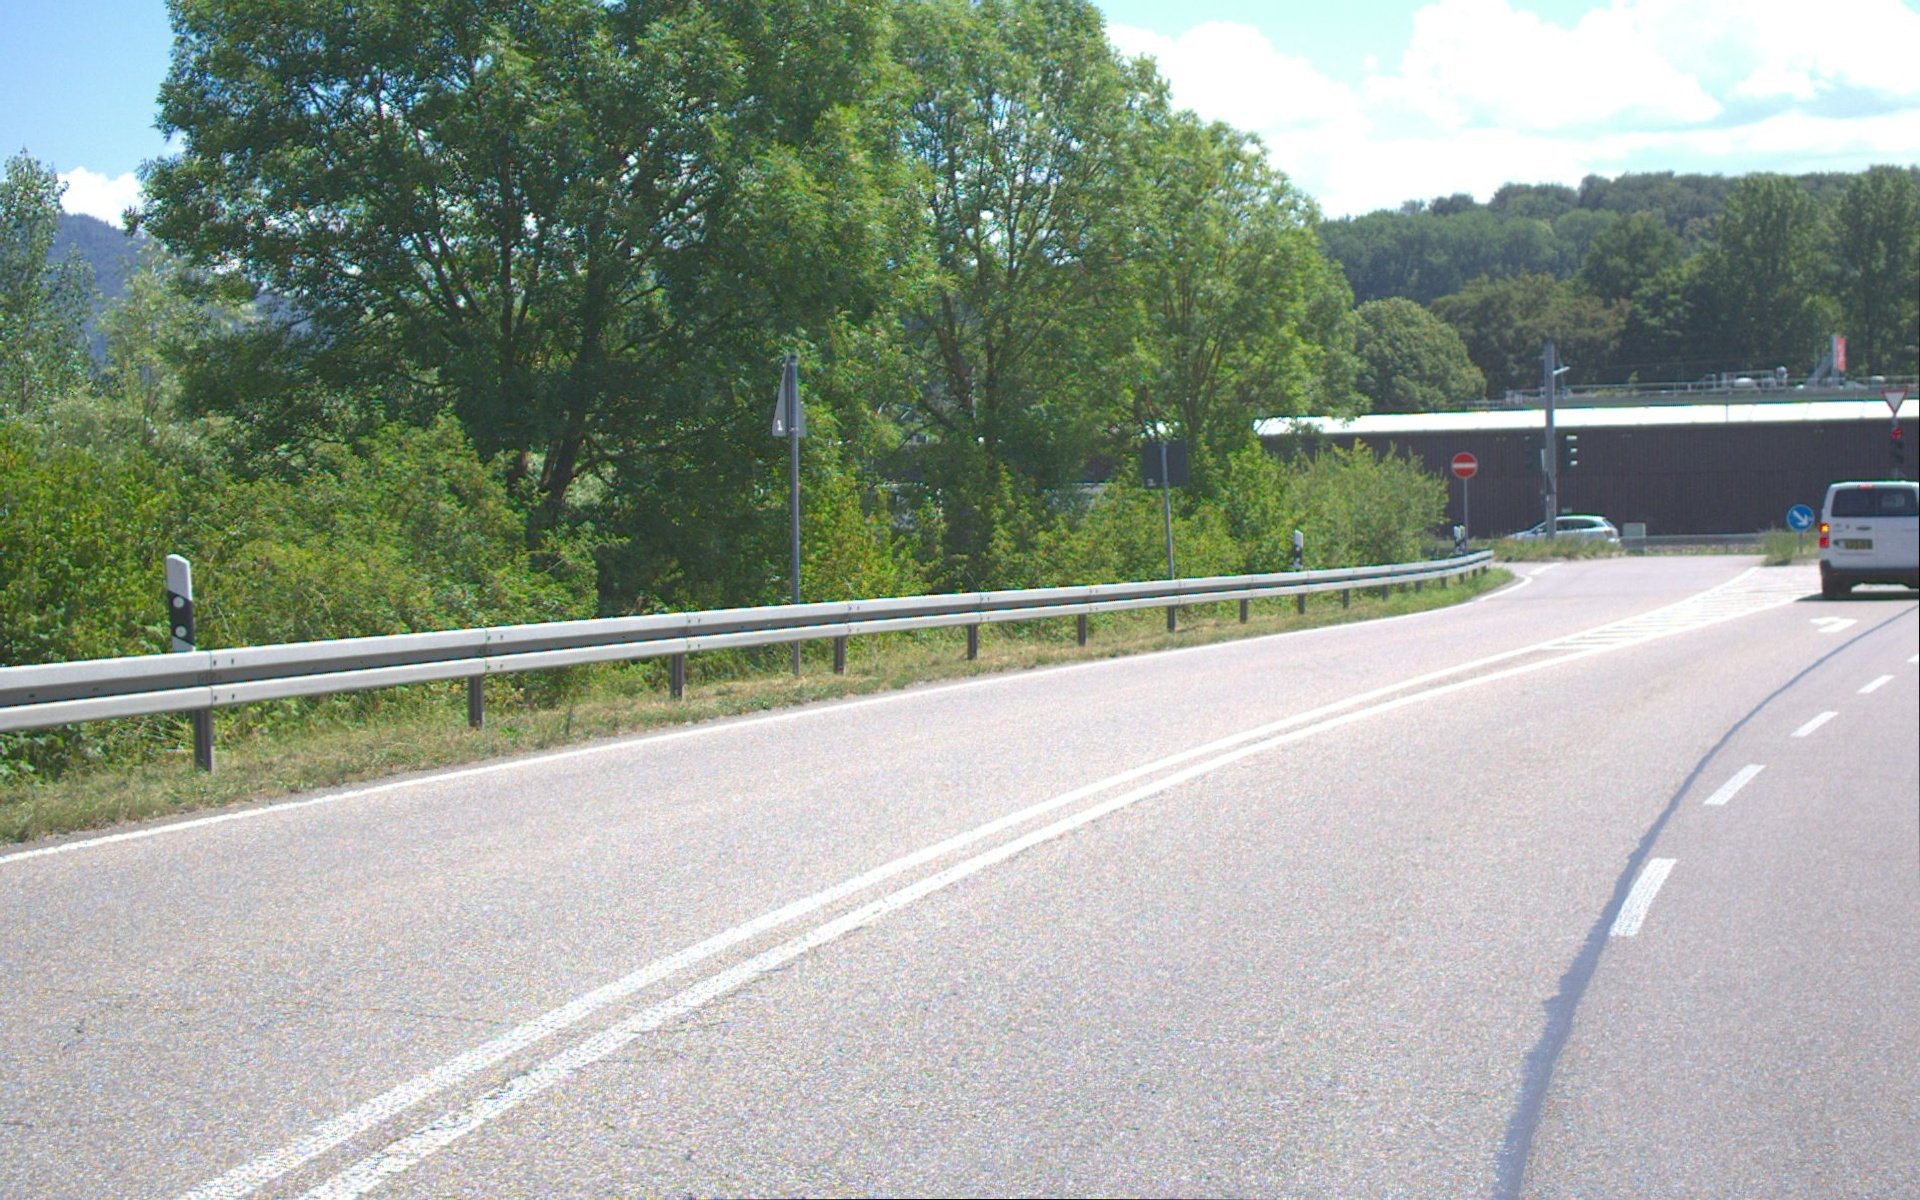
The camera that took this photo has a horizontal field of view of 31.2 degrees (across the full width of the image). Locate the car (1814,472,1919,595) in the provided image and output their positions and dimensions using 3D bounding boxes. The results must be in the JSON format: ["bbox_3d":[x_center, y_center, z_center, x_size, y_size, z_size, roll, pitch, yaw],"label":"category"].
[{"bbox_3d":[15.399,-1.126,57.274,1.872,1.958,3.996,0,2,20],"label":"car"}]

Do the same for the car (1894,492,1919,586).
[{"bbox_3d":[19.814,-1.267,68.336,1.995,1.806,3.996,-2,1,20],"label":"car"}]
